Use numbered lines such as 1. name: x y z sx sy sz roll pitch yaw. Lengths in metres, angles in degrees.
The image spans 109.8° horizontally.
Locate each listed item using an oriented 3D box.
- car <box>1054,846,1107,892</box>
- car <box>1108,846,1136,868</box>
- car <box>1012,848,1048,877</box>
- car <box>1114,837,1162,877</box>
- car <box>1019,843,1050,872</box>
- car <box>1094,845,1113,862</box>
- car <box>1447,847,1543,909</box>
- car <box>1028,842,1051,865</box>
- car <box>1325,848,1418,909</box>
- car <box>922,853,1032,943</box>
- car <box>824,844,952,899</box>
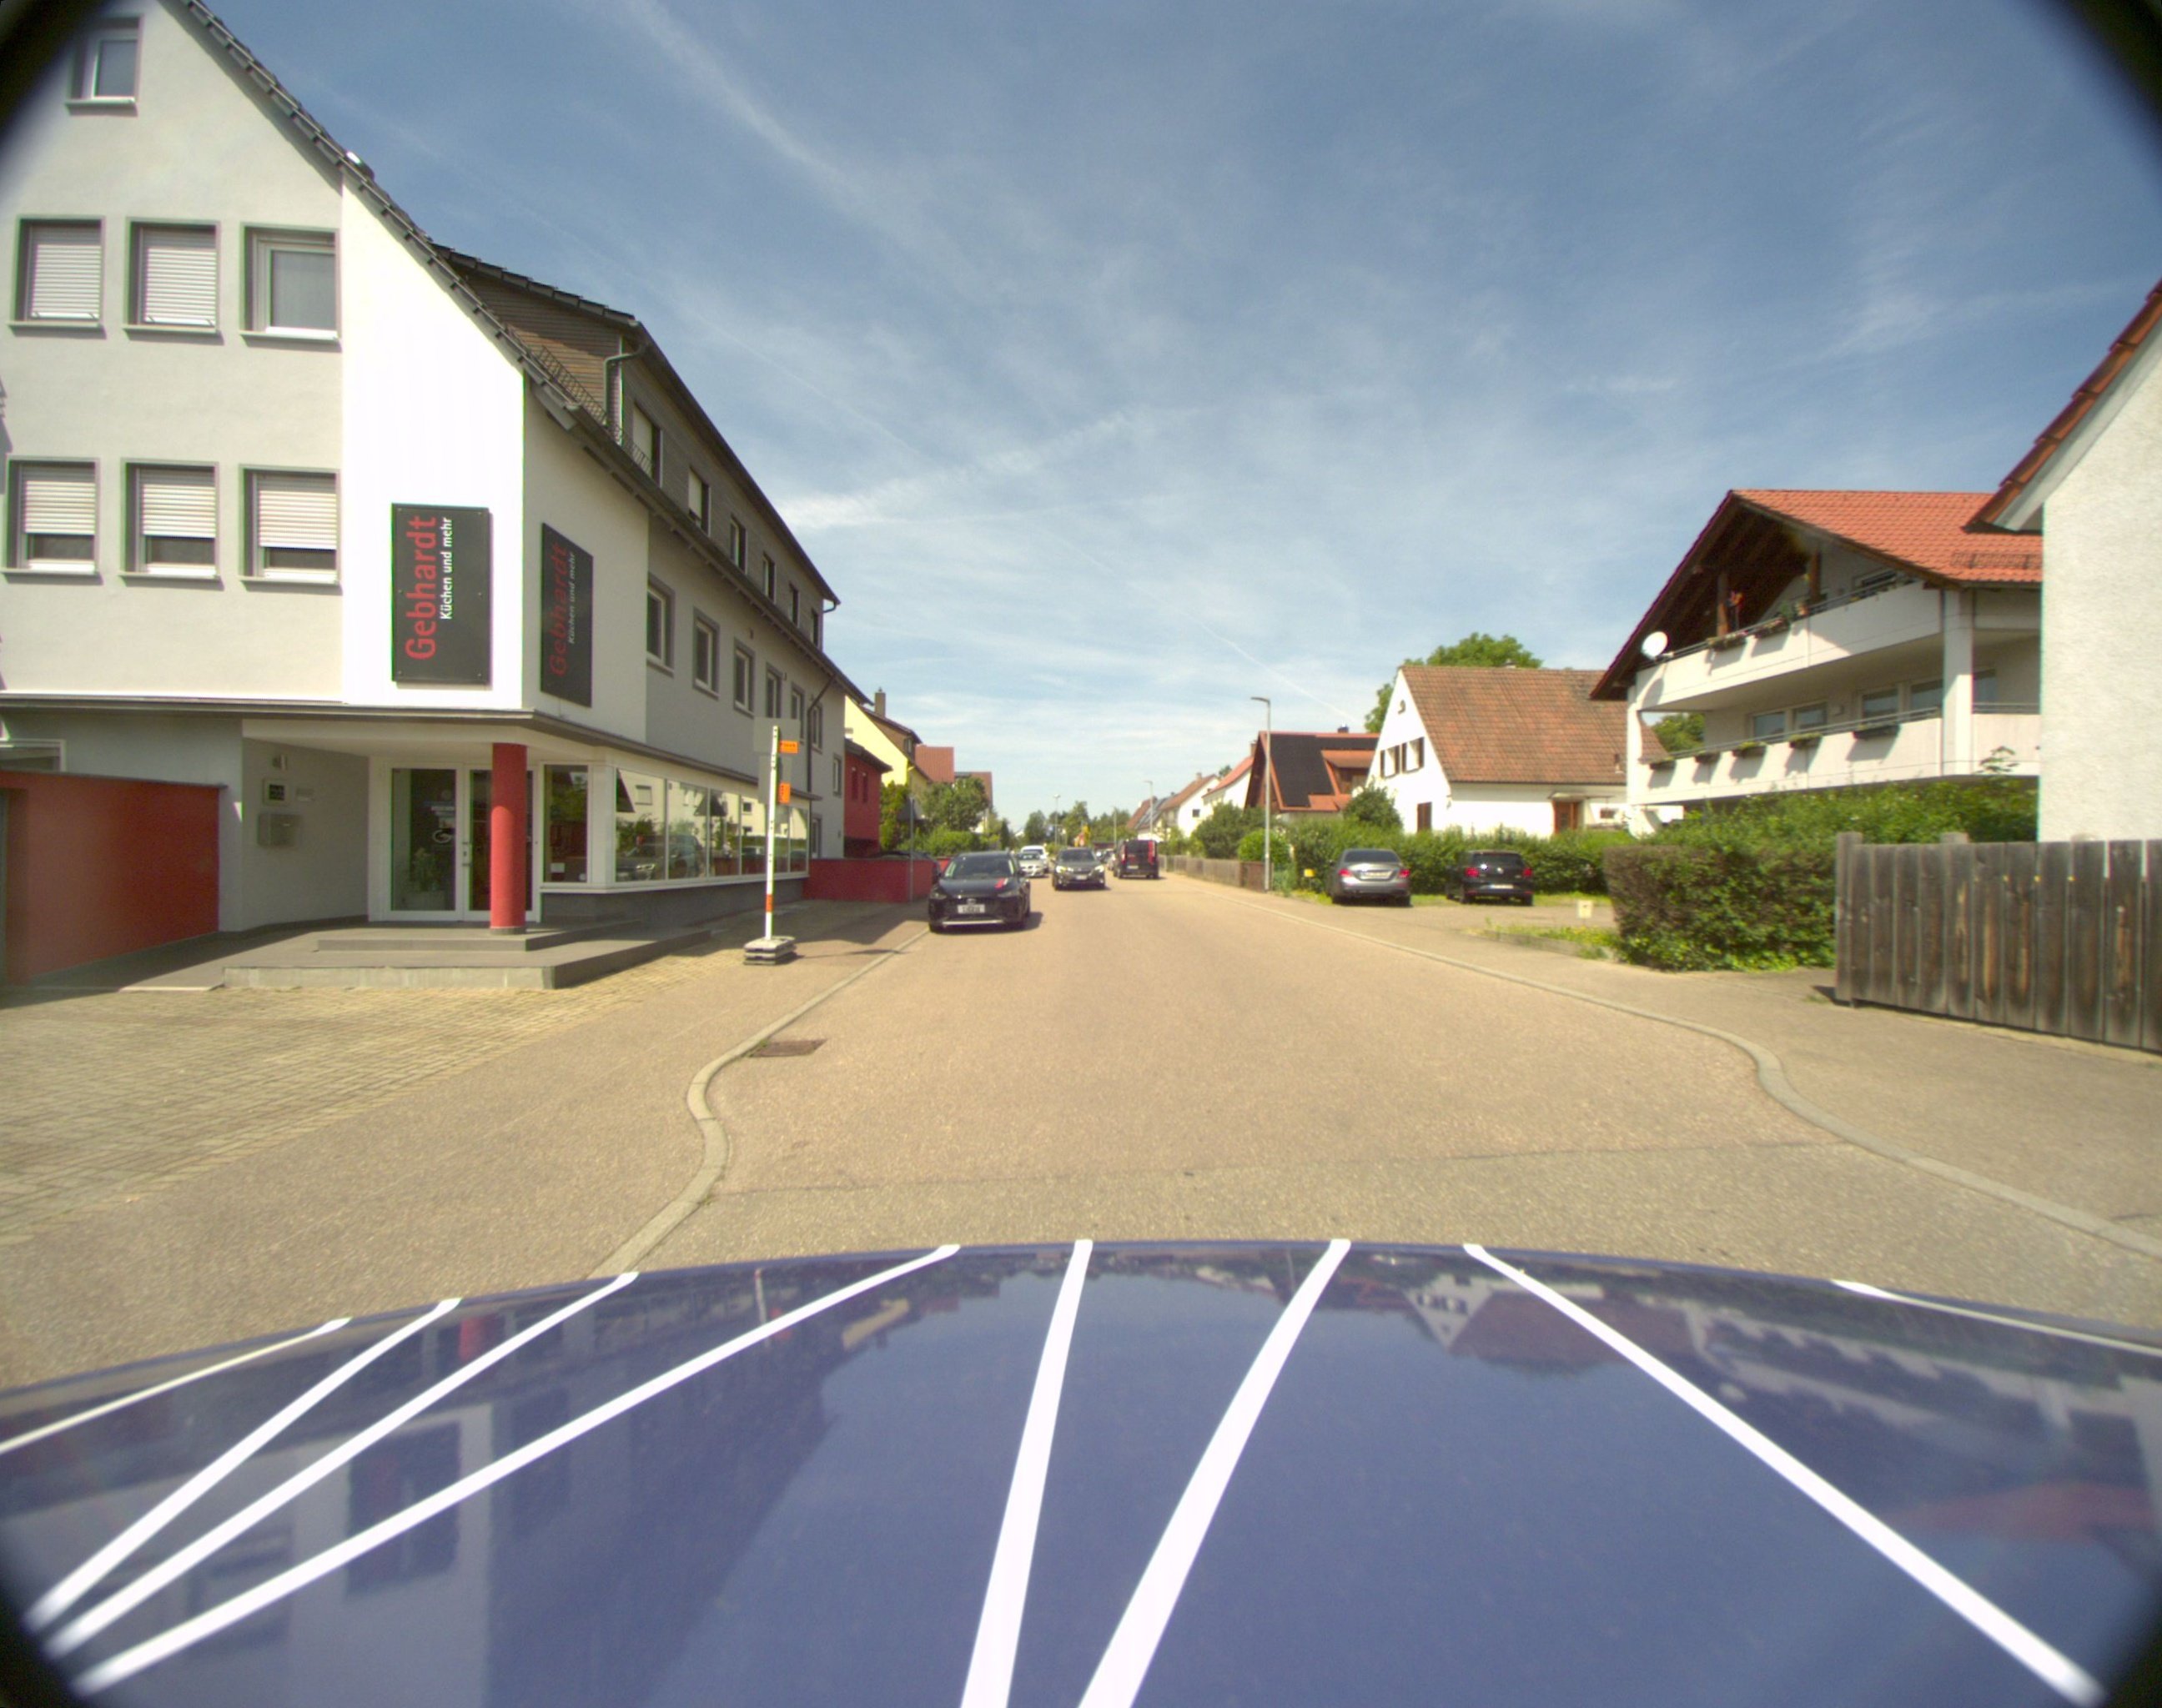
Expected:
1. car: -0.104 0.504 29.019 1.838 1.638 4.321 0 1 -3
2. car: 2.820 0.189 52.970 1.586 1.434 3.264 1 1 -4
3. car: -2.685 0.408 40.842 1.756 1.413 4.419 -2 1 -2
4. car: 2.824 0.111 38.665 1.973 1.940 4.694 0 1 -1
5. car: -2.867 0.161 47.231 1.741 1.652 4.335 -1 1 -2
6. car: 2.030 -0.080 69.343 1.602 1.450 3.659 0 1 0
7. car: 11.083 0.580 20.587 1.691 1.493 3.656 0 1 19
8. car: -3.213 -0.060 59.169 1.670 1.739 4.054 -1 1 -2
9. car: 7.665 0.567 20.426 1.829 1.424 4.567 0 1 14
10. car: -1.996 0.774 15.743 1.766 1.518 4.404 -1 1 -2
11. car: -7.355 0.642 29.312 4.379 1.659 1.876 -6 1 -3
